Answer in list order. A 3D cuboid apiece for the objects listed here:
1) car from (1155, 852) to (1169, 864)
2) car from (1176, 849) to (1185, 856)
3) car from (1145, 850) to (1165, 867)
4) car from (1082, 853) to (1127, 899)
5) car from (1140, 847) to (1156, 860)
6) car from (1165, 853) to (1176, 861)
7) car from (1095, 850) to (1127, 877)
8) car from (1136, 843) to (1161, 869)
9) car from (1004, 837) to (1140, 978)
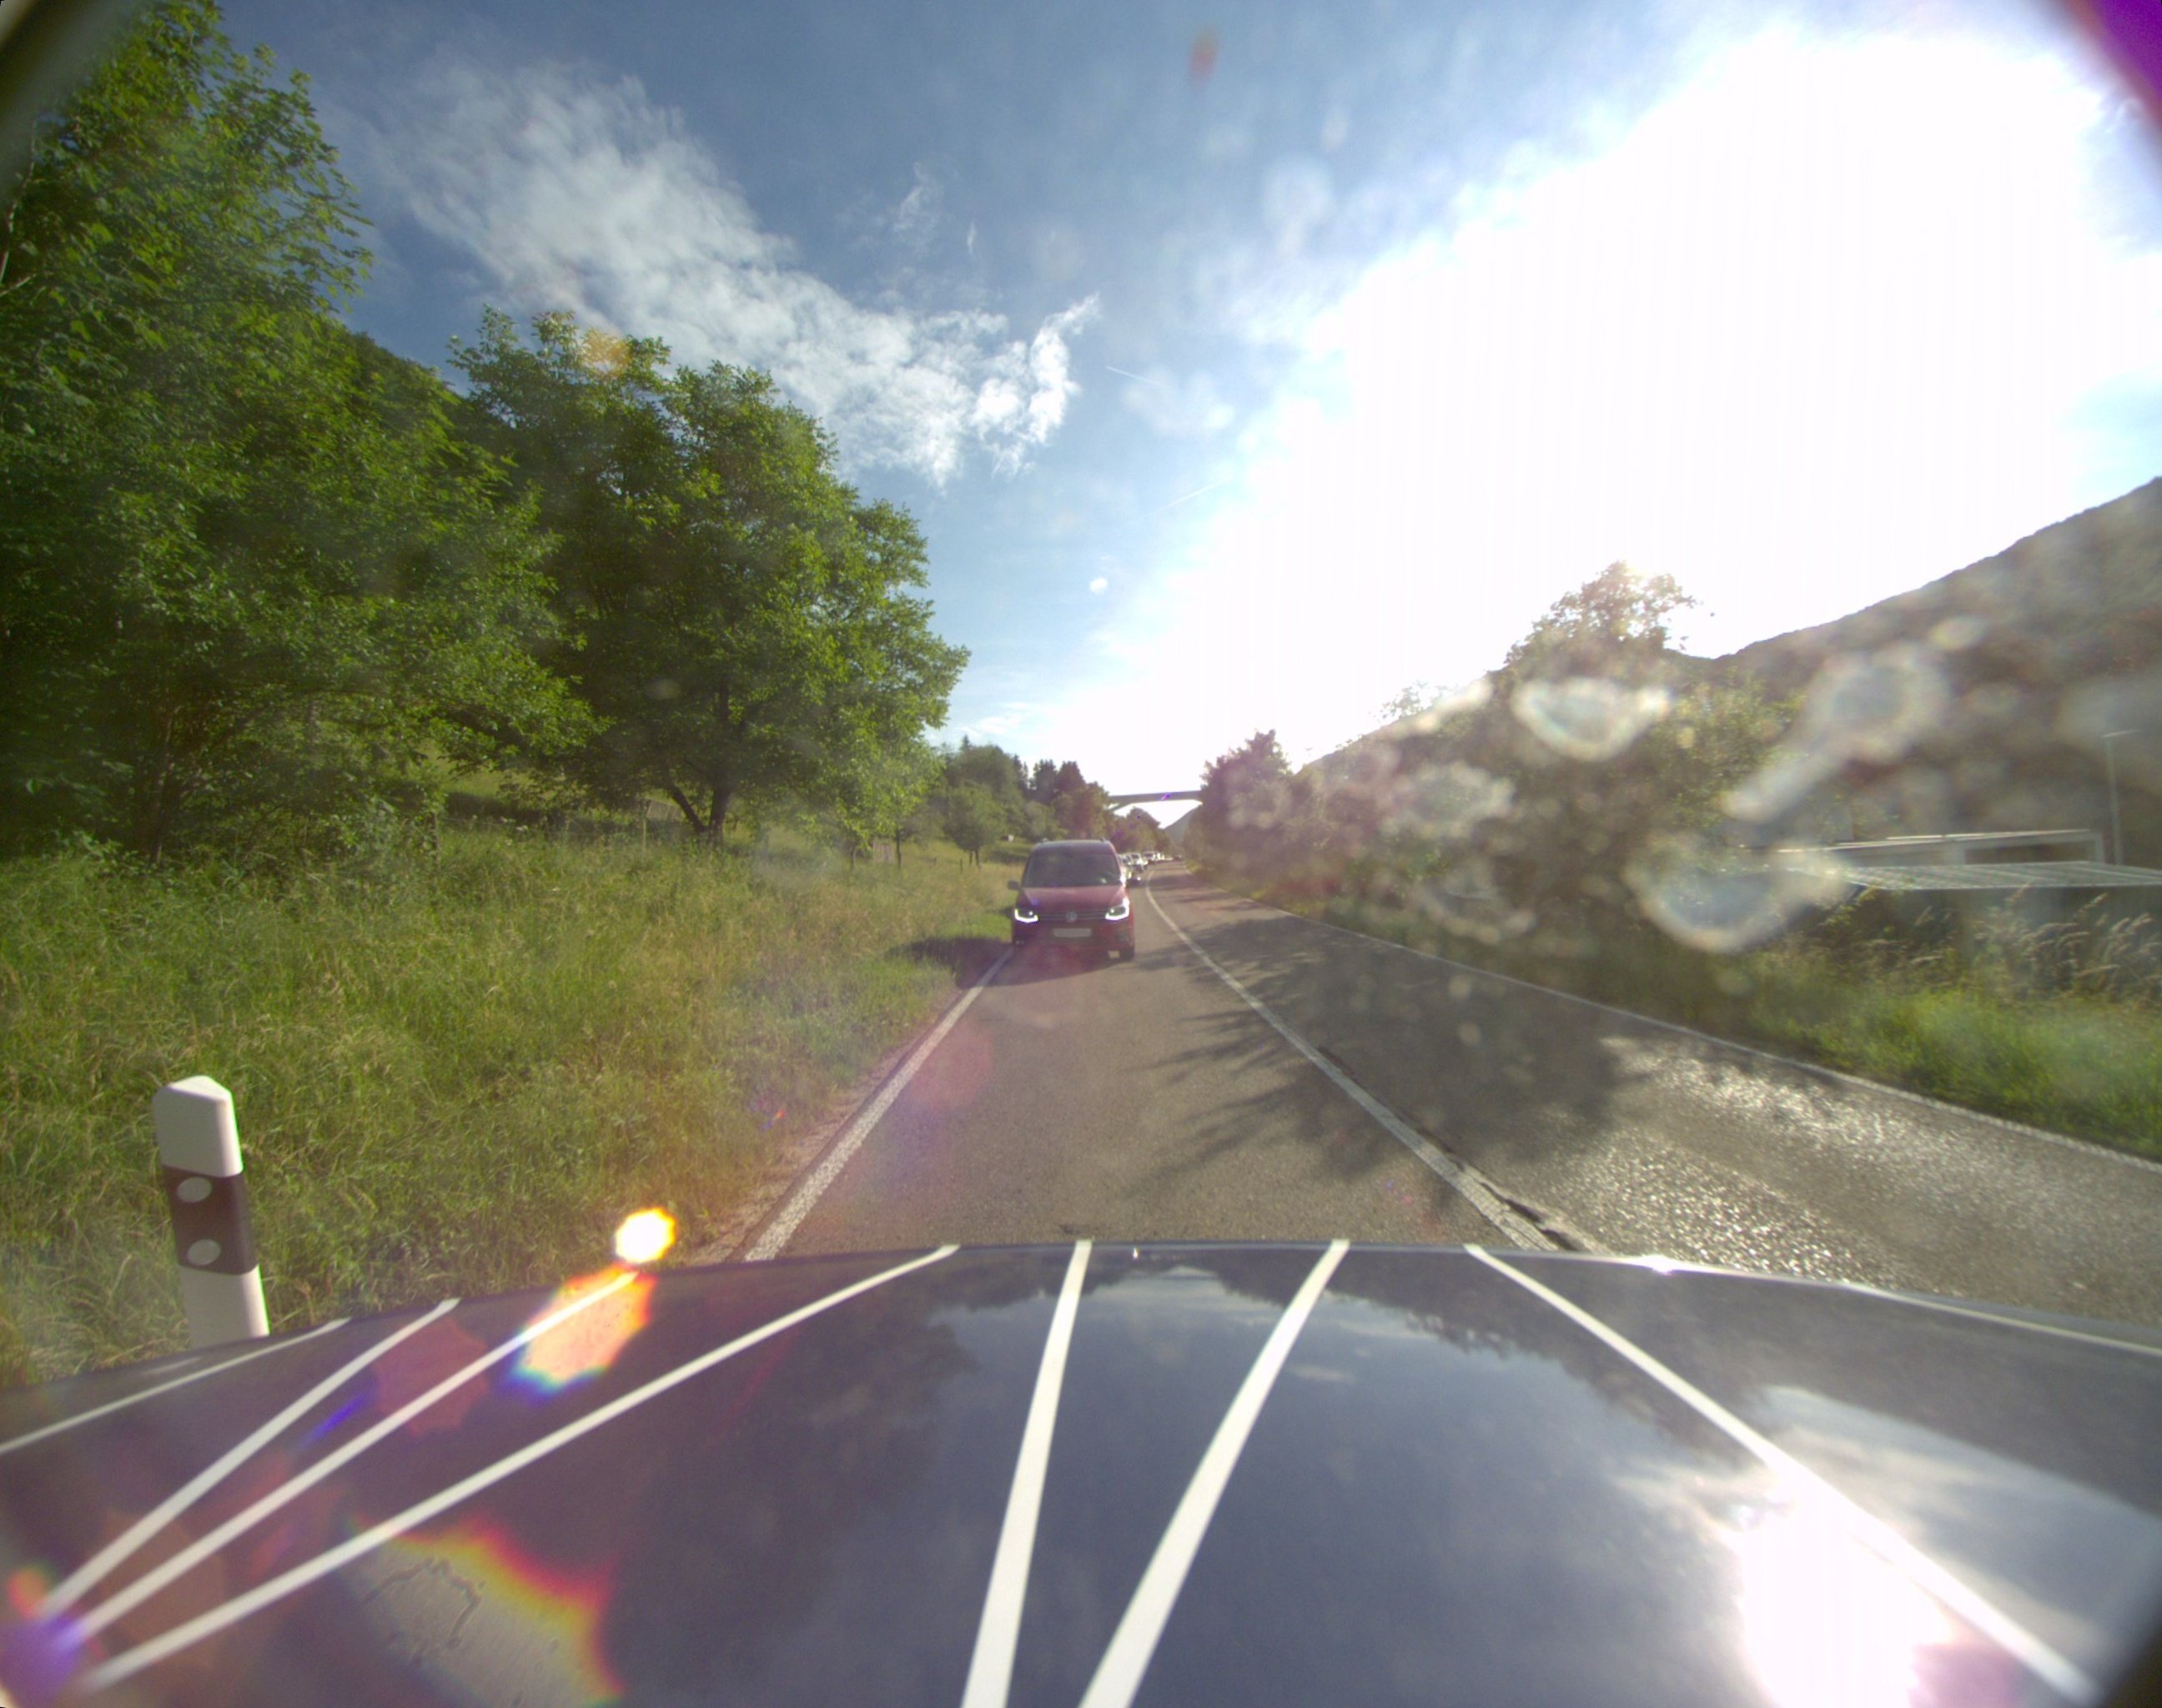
[{"bbox_3d":[12.025,0.580,112.697,1.817,1.608,4.002,-1,0,7],"label":"car"},{"bbox_3d":[23.276,-0.282,178.184,1.818,1.608,3.807,-1,0,5],"label":"car"},{"bbox_3d":[7.077,0.389,72.883,1.841,1.543,4.179,-2,0,5],"label":"car"},{"bbox_3d":[0.923,0.768,28.299,1.571,1.575,3.527,-1,0,3],"label":"car"},{"bbox_3d":[8.689,-0.101,98.573,1.817,1.608,4.002,-1,0,8],"label":"car"},{"bbox_3d":[18.667,0.607,158.866,1.840,1.543,4.181,-1,0,12],"label":"car"},{"bbox_3d":[1.853,0.569,46.235,1.841,1.543,4.178,-1,0,3],"label":"car"},{"bbox_3d":[5.472,0.178,61.489,1.914,2.002,4.001,-1,0,5],"label":"car"},{"bbox_3d":[-0.105,0.720,12.276,1.772,1.855,3.875,-2,0,1],"label":"car"}]
